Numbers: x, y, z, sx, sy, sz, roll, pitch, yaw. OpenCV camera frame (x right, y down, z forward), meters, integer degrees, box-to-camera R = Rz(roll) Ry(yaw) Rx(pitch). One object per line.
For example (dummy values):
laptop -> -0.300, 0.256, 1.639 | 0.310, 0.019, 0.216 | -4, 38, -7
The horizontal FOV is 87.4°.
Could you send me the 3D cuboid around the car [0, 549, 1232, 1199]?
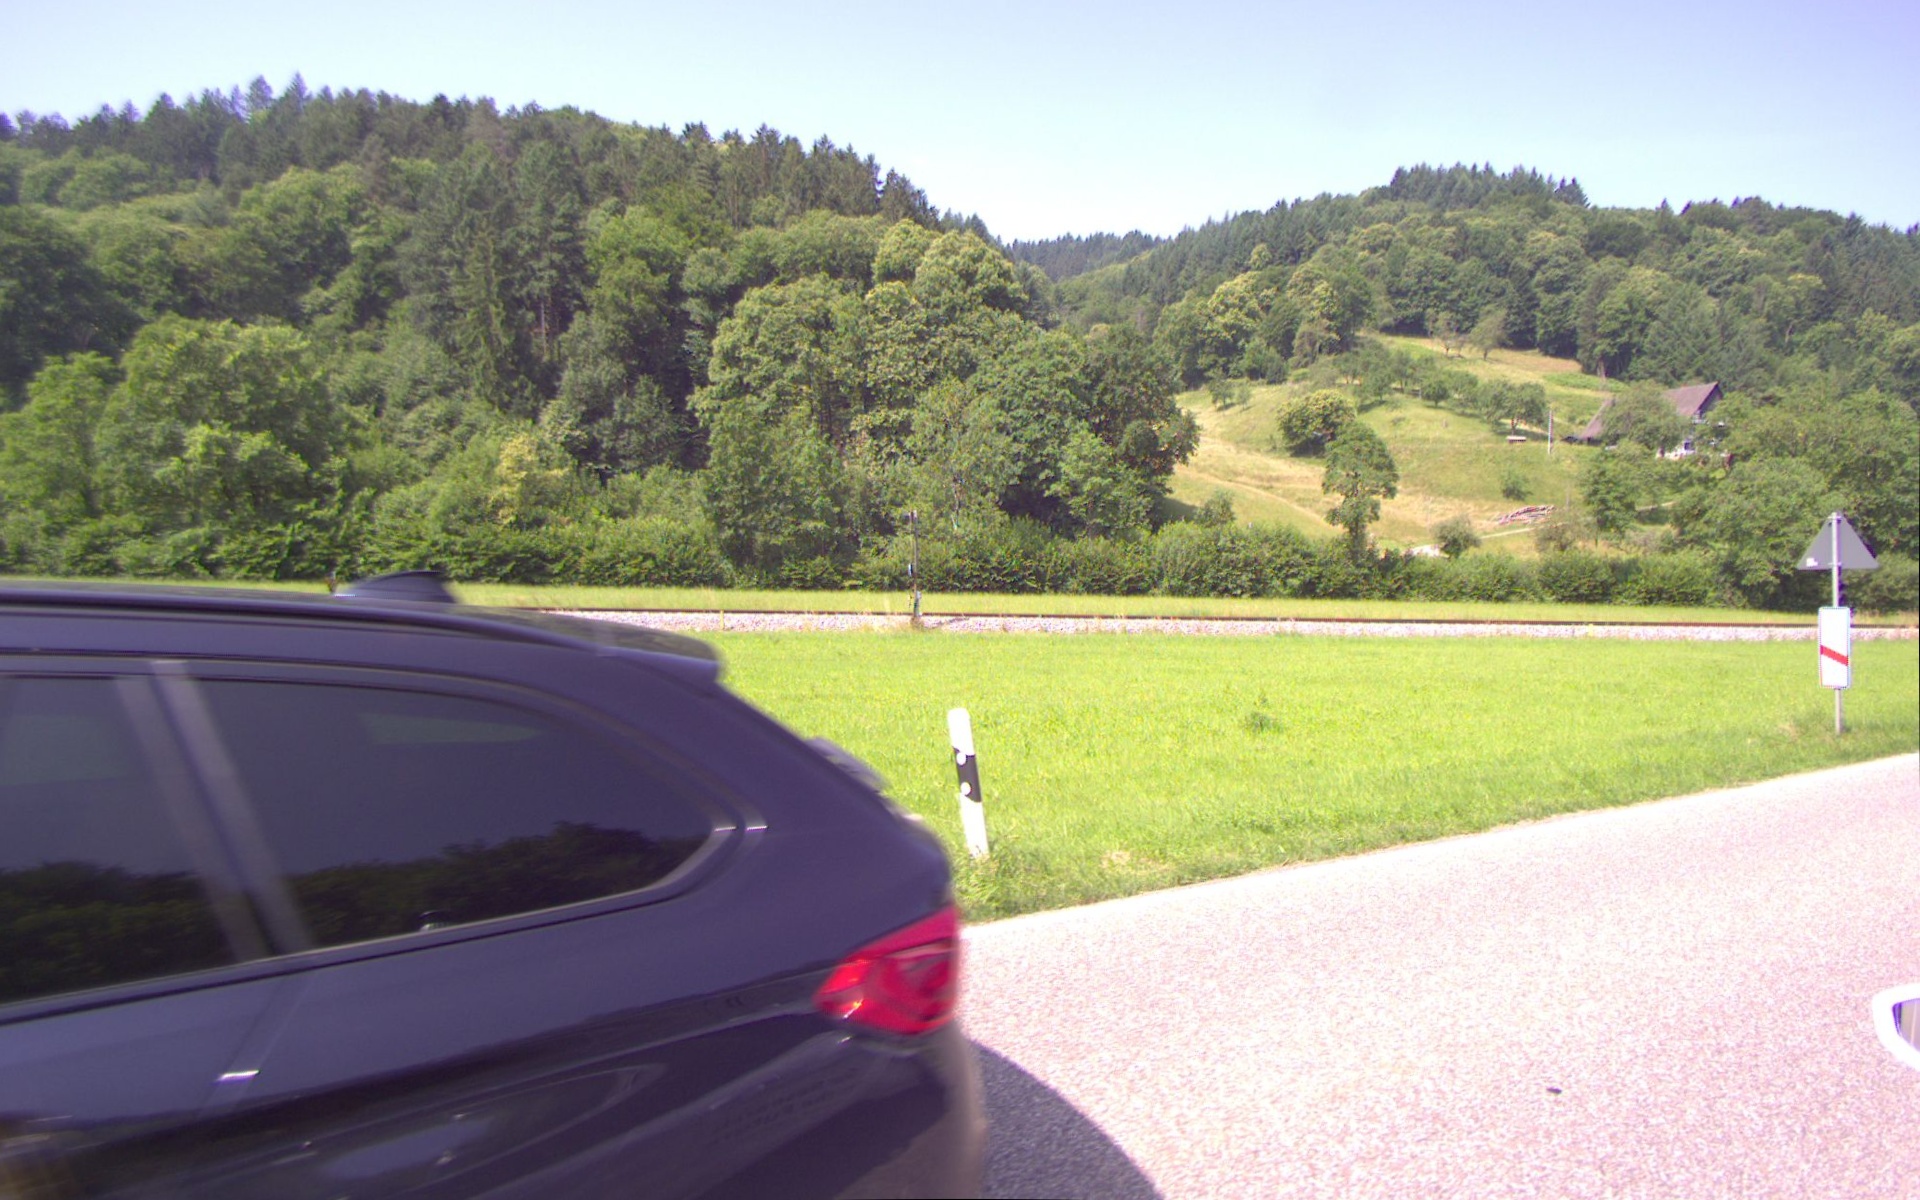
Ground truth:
car -> -1.901, 0.679, 1.414 | 4.460, 1.490, 1.906 | 0, 1, -32
